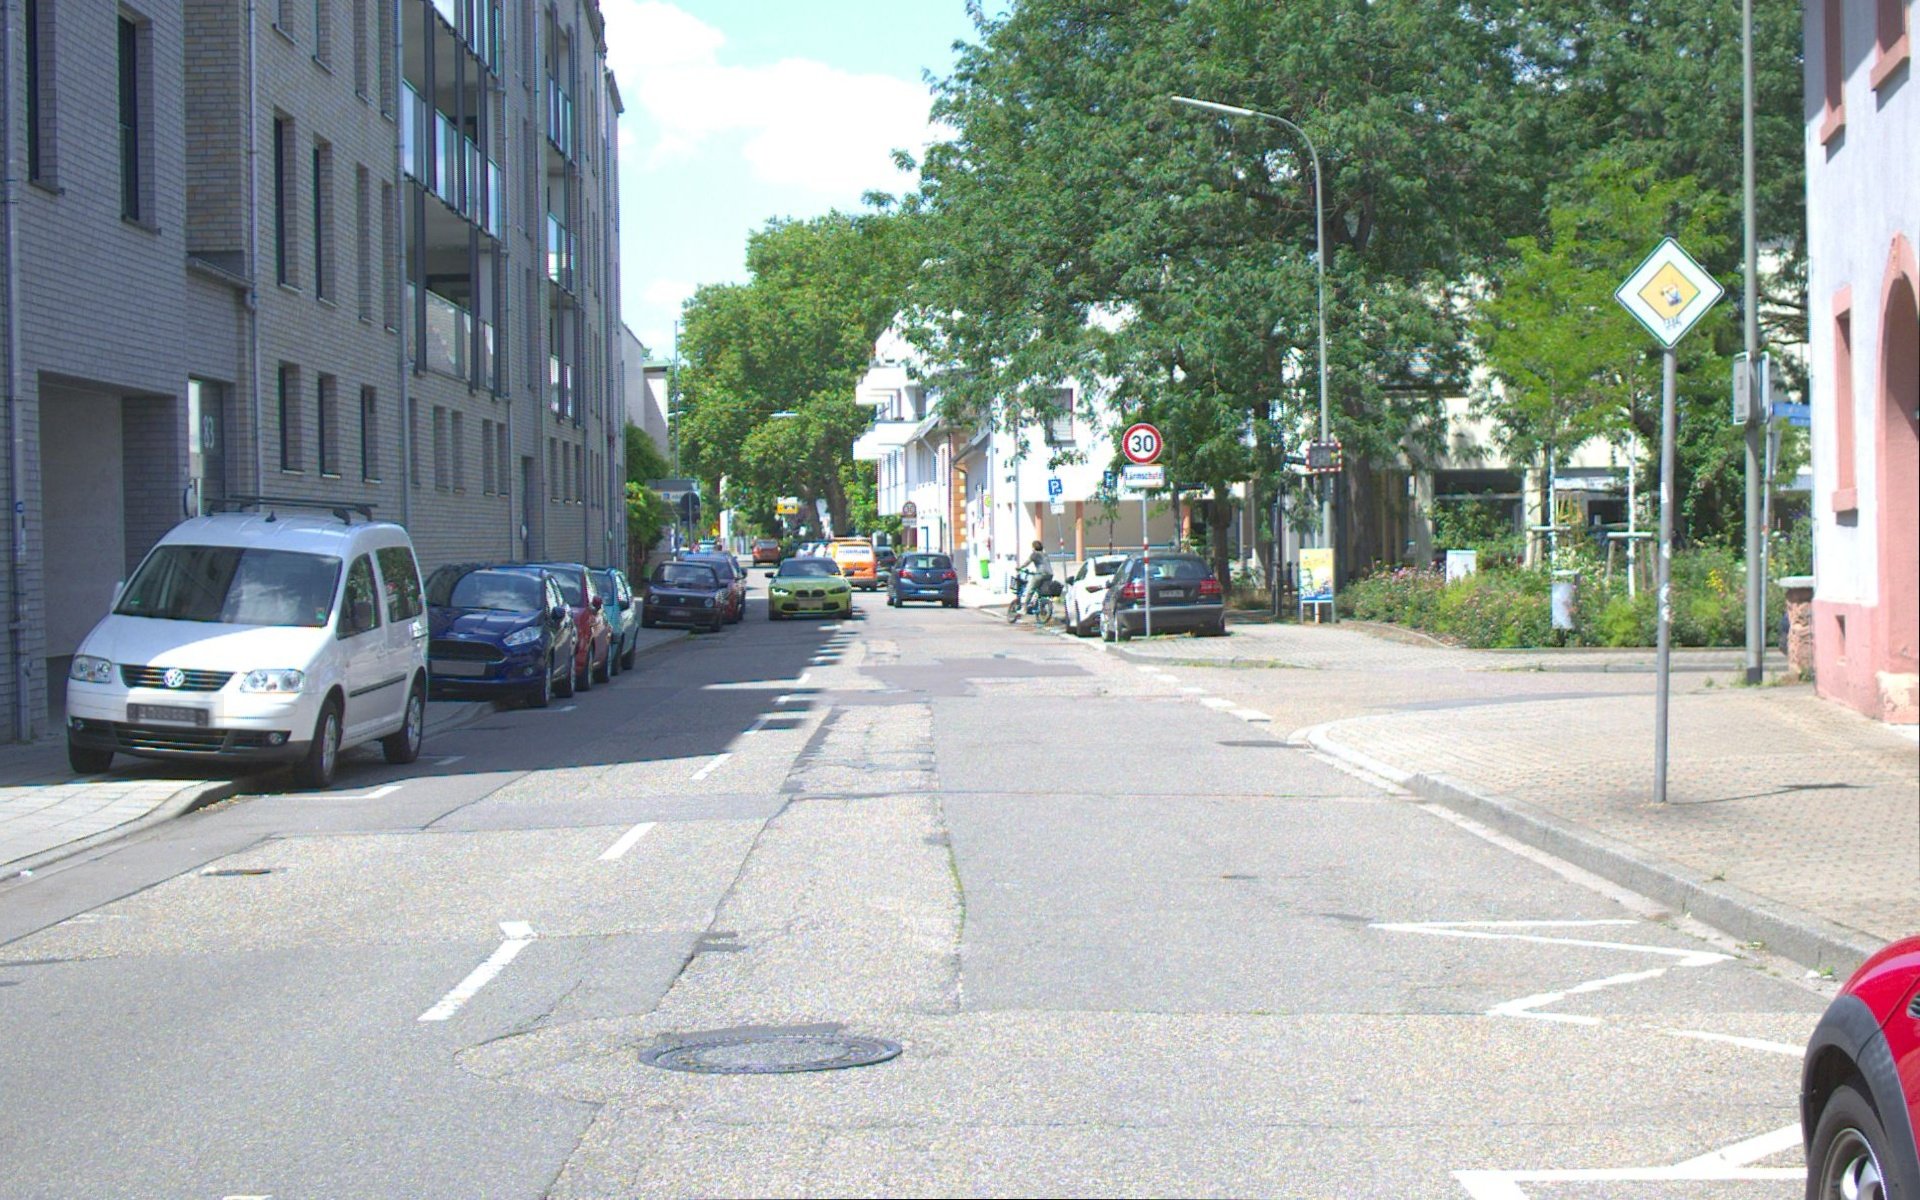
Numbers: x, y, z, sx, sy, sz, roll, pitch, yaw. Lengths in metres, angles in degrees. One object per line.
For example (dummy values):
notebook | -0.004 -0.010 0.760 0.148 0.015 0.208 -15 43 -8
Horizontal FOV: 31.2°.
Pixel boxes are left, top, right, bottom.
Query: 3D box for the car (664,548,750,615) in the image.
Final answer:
car | -5.663 -0.443 77.244 1.732 1.437 4.000 -1 1 -2

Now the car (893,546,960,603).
car | -0.888 -0.698 91.312 1.715 1.397 4.000 -1 1 -1

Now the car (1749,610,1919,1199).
car | 2.347 0.736 4.594 1.618 1.381 3.539 -1 1 -3

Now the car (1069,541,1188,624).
car | 2.990 -0.332 61.759 1.779 1.415 4.000 -1 1 -2

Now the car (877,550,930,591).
car | -2.273 -1.191 137.588 1.993 1.612 4.001 0 1 -3

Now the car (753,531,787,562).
car | -12.722 -3.609 230.710 2.156 2.007 4.001 -1 1 -2

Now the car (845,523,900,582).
car | -3.102 -1.711 122.543 1.839 2.007 4.000 -1 1 -1

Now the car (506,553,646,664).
car | -5.273 0.087 47.566 1.590 1.451 3.704 1 1 -2

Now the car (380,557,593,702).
car | -5.035 0.277 37.024 1.723 1.451 4.005 1 1 0

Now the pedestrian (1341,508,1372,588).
pedestrian | 9.215 -1.210 79.881 0.595 1.853 0.603 -1 1 14

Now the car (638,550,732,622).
car | -5.746 -0.323 72.085 1.732 1.437 4.000 -1 1 -2

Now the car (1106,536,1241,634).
car | 3.365 -0.261 54.841 1.692 1.415 4.000 -3 1 -2

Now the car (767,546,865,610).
car | -3.279 -0.531 79.111 1.993 1.376 4.393 1 1 1

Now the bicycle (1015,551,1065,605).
bicycle | 1.673 -0.460 72.276 0.483 1.111 1.196 -1 1 -29

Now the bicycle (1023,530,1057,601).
bicycle | 1.683 -0.721 72.252 0.477 1.485 0.576 -1 1 -29

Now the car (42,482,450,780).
car | -4.952 0.155 24.448 1.757 1.885 4.336 2 1 3

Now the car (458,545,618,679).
car | -5.118 0.112 42.041 1.590 1.548 3.571 0 1 -1
